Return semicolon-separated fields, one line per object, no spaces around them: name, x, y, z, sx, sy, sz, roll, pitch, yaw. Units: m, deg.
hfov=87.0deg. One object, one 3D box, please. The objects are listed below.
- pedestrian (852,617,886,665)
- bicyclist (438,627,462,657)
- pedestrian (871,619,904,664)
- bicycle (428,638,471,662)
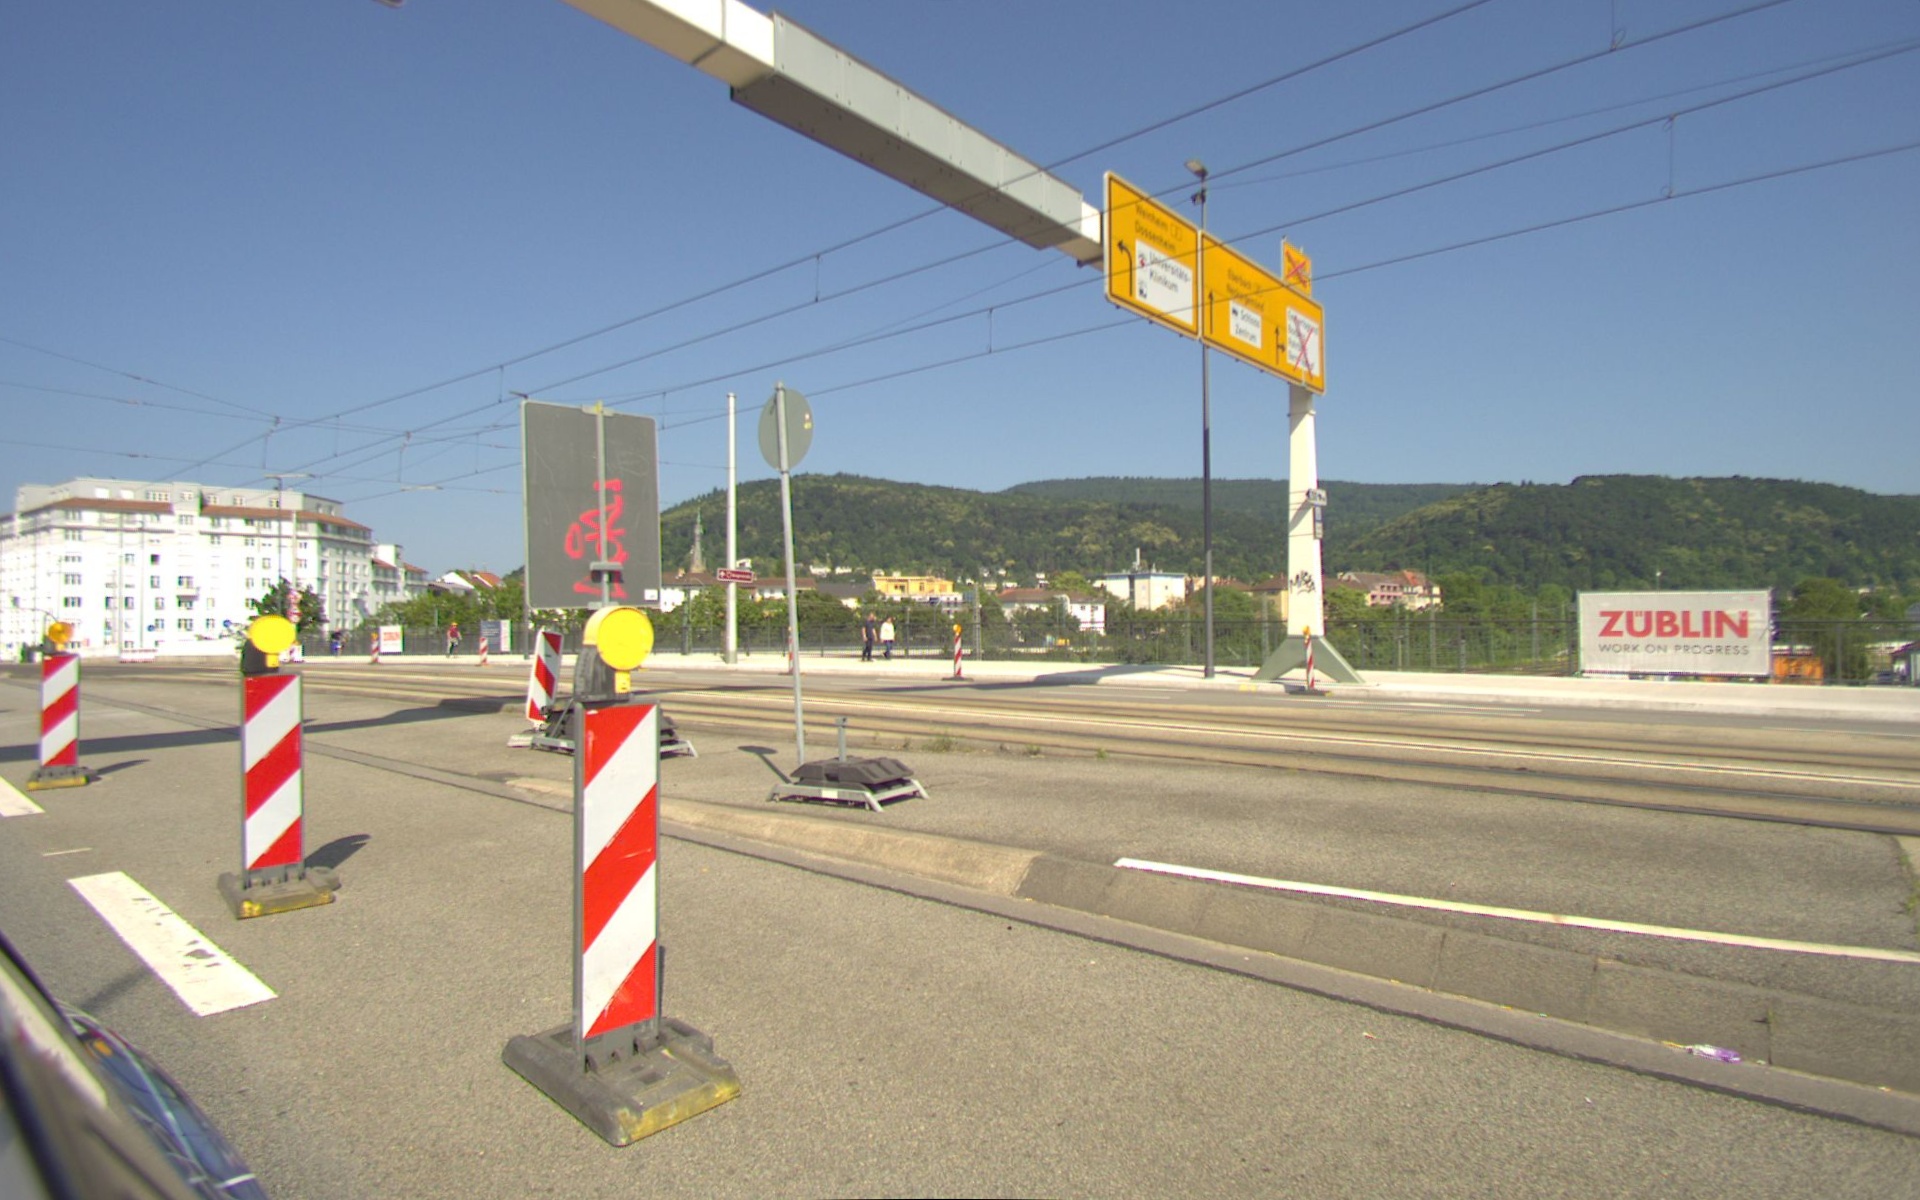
pedestrian;-3.213;1.437;35.809;0.894;1.654;0.736;-3;0;39
bicyclist;-27.077;2.225;53.762;0.816;1.530;0.848;-3;-1;38
pedestrian;-2.615;1.482;36.342;0.888;1.556;0.712;-3;0;39
bicycle;-27.146;2.648;53.811;3.068;1.204;0.847;-2;-1;39
